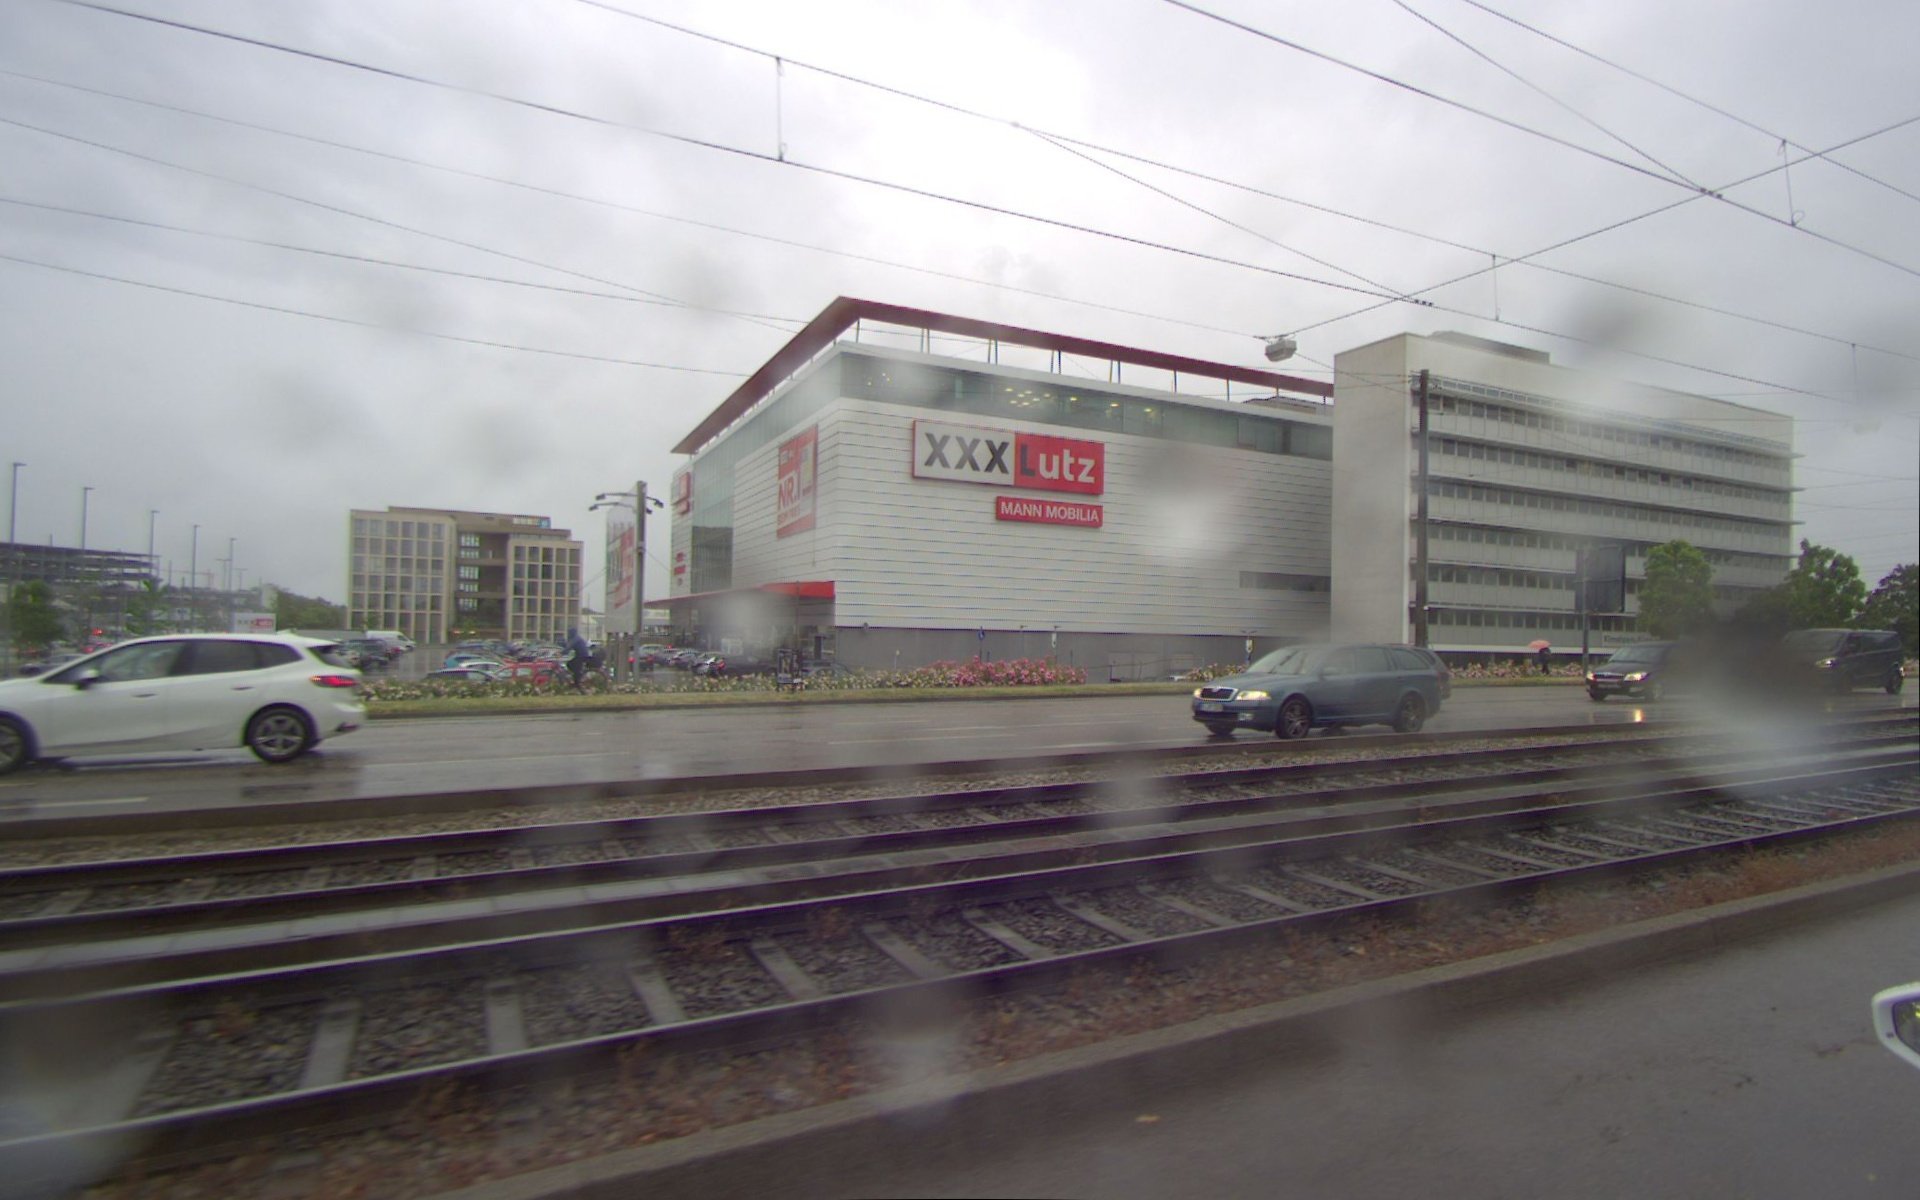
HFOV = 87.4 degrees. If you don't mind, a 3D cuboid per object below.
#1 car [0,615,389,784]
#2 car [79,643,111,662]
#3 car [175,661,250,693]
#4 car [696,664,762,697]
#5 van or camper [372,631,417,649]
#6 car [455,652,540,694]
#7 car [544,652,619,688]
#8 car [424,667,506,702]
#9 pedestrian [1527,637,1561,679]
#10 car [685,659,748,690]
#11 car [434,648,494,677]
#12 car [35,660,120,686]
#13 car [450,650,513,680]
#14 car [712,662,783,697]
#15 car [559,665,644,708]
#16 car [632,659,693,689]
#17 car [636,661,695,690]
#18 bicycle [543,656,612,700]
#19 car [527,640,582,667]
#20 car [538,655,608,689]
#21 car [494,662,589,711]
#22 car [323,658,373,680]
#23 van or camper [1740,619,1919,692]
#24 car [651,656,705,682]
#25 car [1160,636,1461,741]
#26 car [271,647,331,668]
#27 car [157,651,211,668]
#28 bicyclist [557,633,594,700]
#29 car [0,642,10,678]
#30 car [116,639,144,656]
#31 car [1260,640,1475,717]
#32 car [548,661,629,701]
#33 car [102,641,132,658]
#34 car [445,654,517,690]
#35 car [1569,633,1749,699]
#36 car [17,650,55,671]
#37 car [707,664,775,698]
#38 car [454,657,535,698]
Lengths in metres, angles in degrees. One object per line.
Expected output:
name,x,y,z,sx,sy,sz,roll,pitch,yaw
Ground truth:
car,-9.872,1.147,12.523,4.632,1.858,1.987,2,-2,-27
car,-107.812,6.537,125.225,1.974,2.040,3.974,2,0,-26
car,-49.193,5.036,66.197,3.791,1.930,1.808,2,0,-32
car,-15.818,5.505,68.796,3.953,2.040,1.984,2,0,-30
van or camper,-73.250,5.186,130.063,4.940,2.141,1.770,2,0,-34
car,-24.992,3.903,54.285,3.954,2.040,1.983,1,1,-31
car,-22.877,4.194,60.678,3.953,2.040,1.984,2,0,-30
car,-20.404,3.459,41.433,2.905,1.270,1.347,2,0,-31
pedestrian,26.233,2.606,45.091,1.036,1.786,0.820,2,1,-26
car,-17.204,5.248,70.999,3.953,2.040,1.984,2,0,-30
car,-38.107,4.813,77.183,3.954,2.040,1.983,1,1,-31
car,-58.752,4.848,66.939,3.999,1.544,1.701,2,0,-33
car,-34.892,4.723,73.237,3.954,2.040,1.983,1,1,-31
car,-13.440,4.995,63.622,3.953,2.040,1.984,2,0,-30
car,-19.040,4.562,53.422,3.954,2.040,1.983,1,1,-31
car,-21.963,5.453,74.179,3.955,2.040,1.983,2,0,-31
car,-22.670,5.764,77.435,3.955,2.040,1.983,2,0,-31
bicycle,-9.627,1.958,25.292,1.536,1.029,0.665,1,1,-28
car,-33.241,4.389,82.352,3.955,2.040,1.983,2,0,-31
car,-25.285,4.669,65.623,3.953,2.040,1.984,2,0,-30
car,-20.054,4.096,48.140,3.954,2.040,1.983,1,1,-31
car,-45.912,5.161,75.387,3.133,1.544,1.559,2,0,-31
van or camper,27.300,1.694,31.456,5.610,2.040,2.297,1,0,-26
car,-24.061,5.880,85.719,3.955,2.040,1.983,2,0,-31
car,5.677,1.378,16.186,4.613,1.475,1.986,2,-4,-28
car,-54.532,4.780,83.168,3.957,1.582,1.752,2,0,-28
car,-70.804,5.446,91.657,3.518,1.425,1.776,2,0,-25
bicyclist,-9.670,1.654,25.264,0.782,1.611,0.668,1,1,-28
car,-59.681,3.568,59.948,3.955,2.040,1.983,2,0,-31
car,-113.282,6.466,137.100,1.974,2.040,3.974,2,0,-26
car,8.920,1.674,21.946,4.498,1.536,1.956,2,-4,-28
car,-20.948,4.533,56.667,3.954,2.040,1.983,1,1,-31
car,-110.424,6.509,131.612,1.974,2.040,3.974,2,0,-26
car,-30.106,4.483,63.144,3.954,2.040,1.983,1,1,-31
car,18.736,1.746,26.889,4.843,1.639,1.852,2,-3,-26
car,-102.985,6.723,111.992,1.974,2.040,3.974,2,0,-26
car,-14.420,5.303,66.208,3.953,2.040,1.984,2,0,-30
car,-26.047,4.310,56.241,3.954,2.040,1.983,1,1,-31
